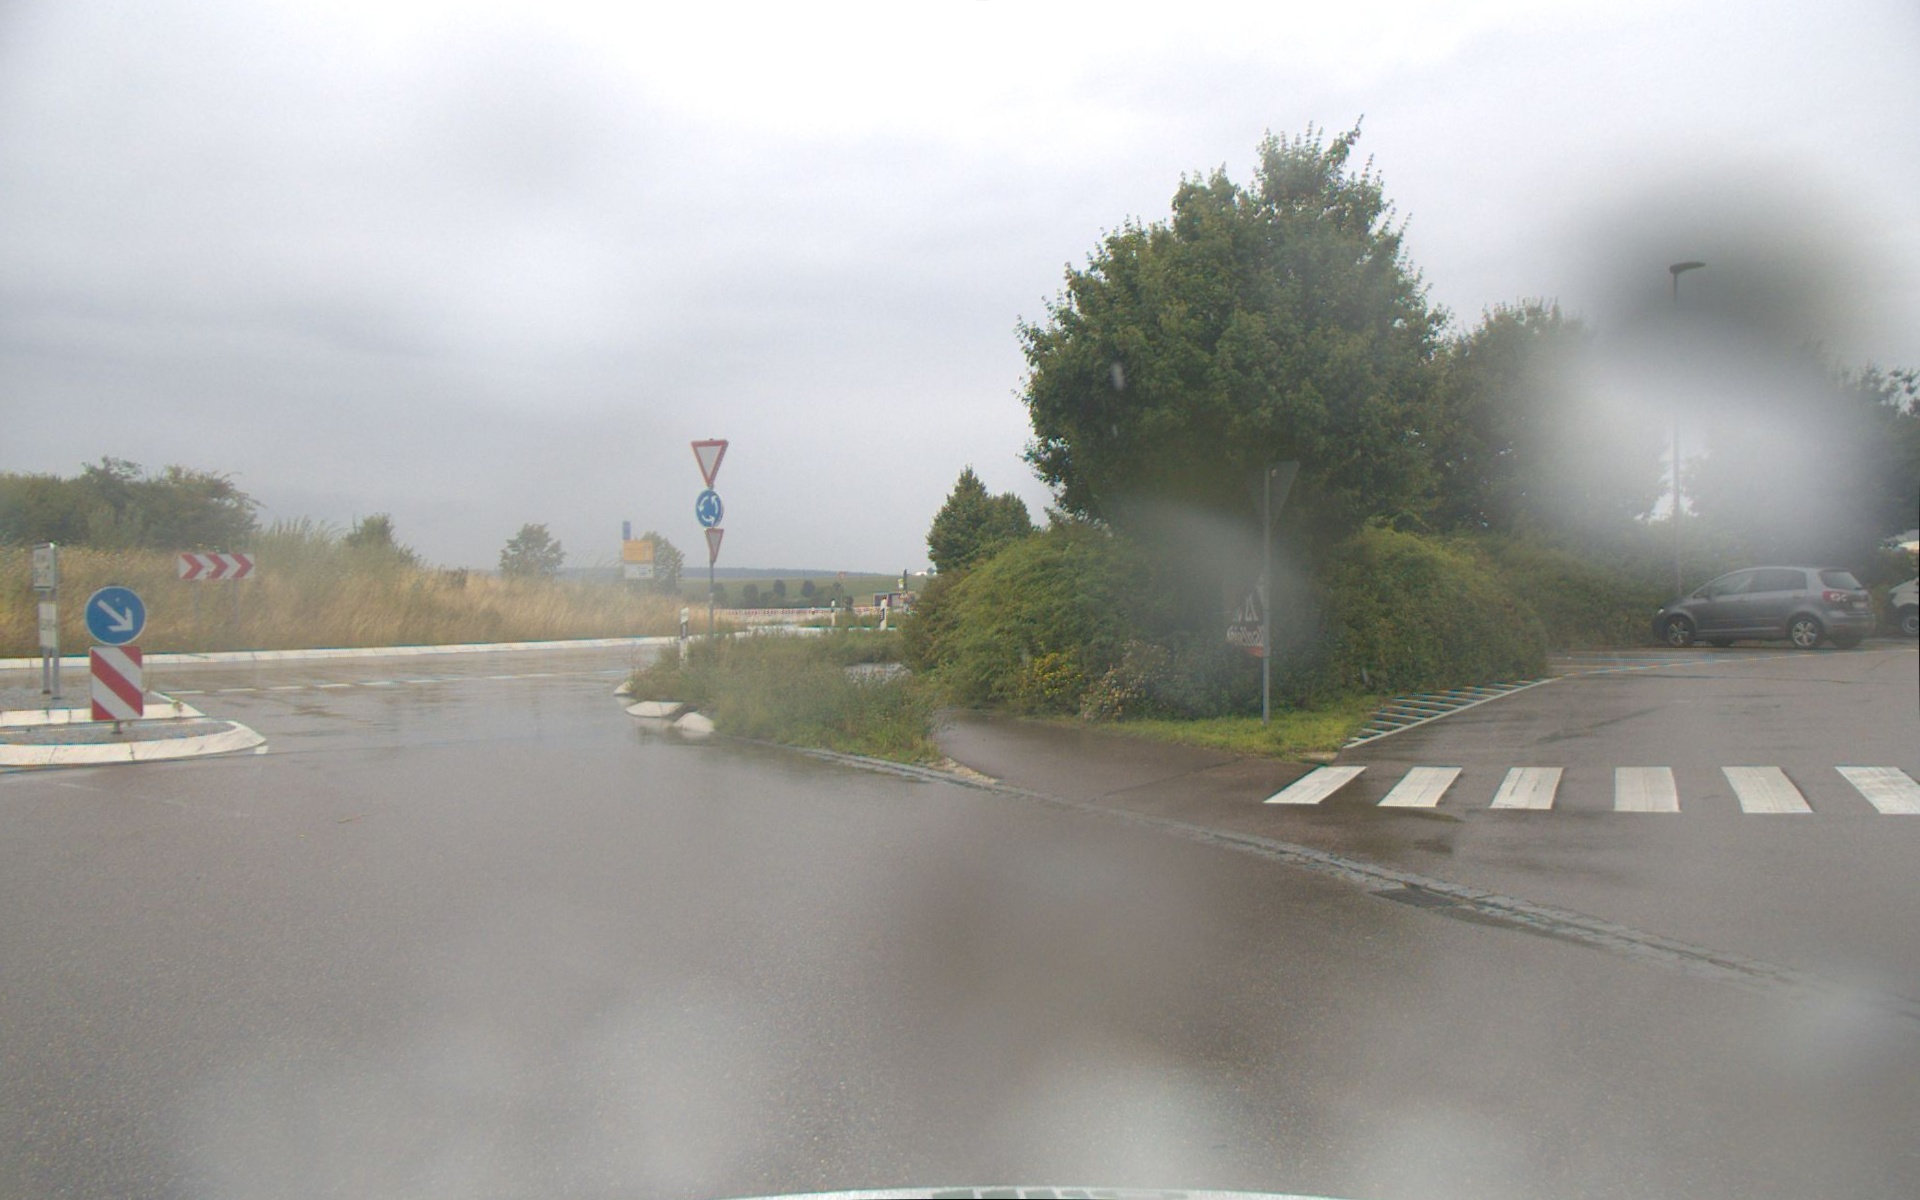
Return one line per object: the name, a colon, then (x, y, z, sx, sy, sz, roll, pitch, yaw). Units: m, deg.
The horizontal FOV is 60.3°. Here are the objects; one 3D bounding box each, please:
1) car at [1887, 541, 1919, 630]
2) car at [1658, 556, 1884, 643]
car: (23.830, -0.368, 37.681, 1.626, 2.069, 4.479, -2, 0, -35)
car: (15.684, -0.001, 32.137, 1.434, 1.578, 3.697, -2, 0, -35)
